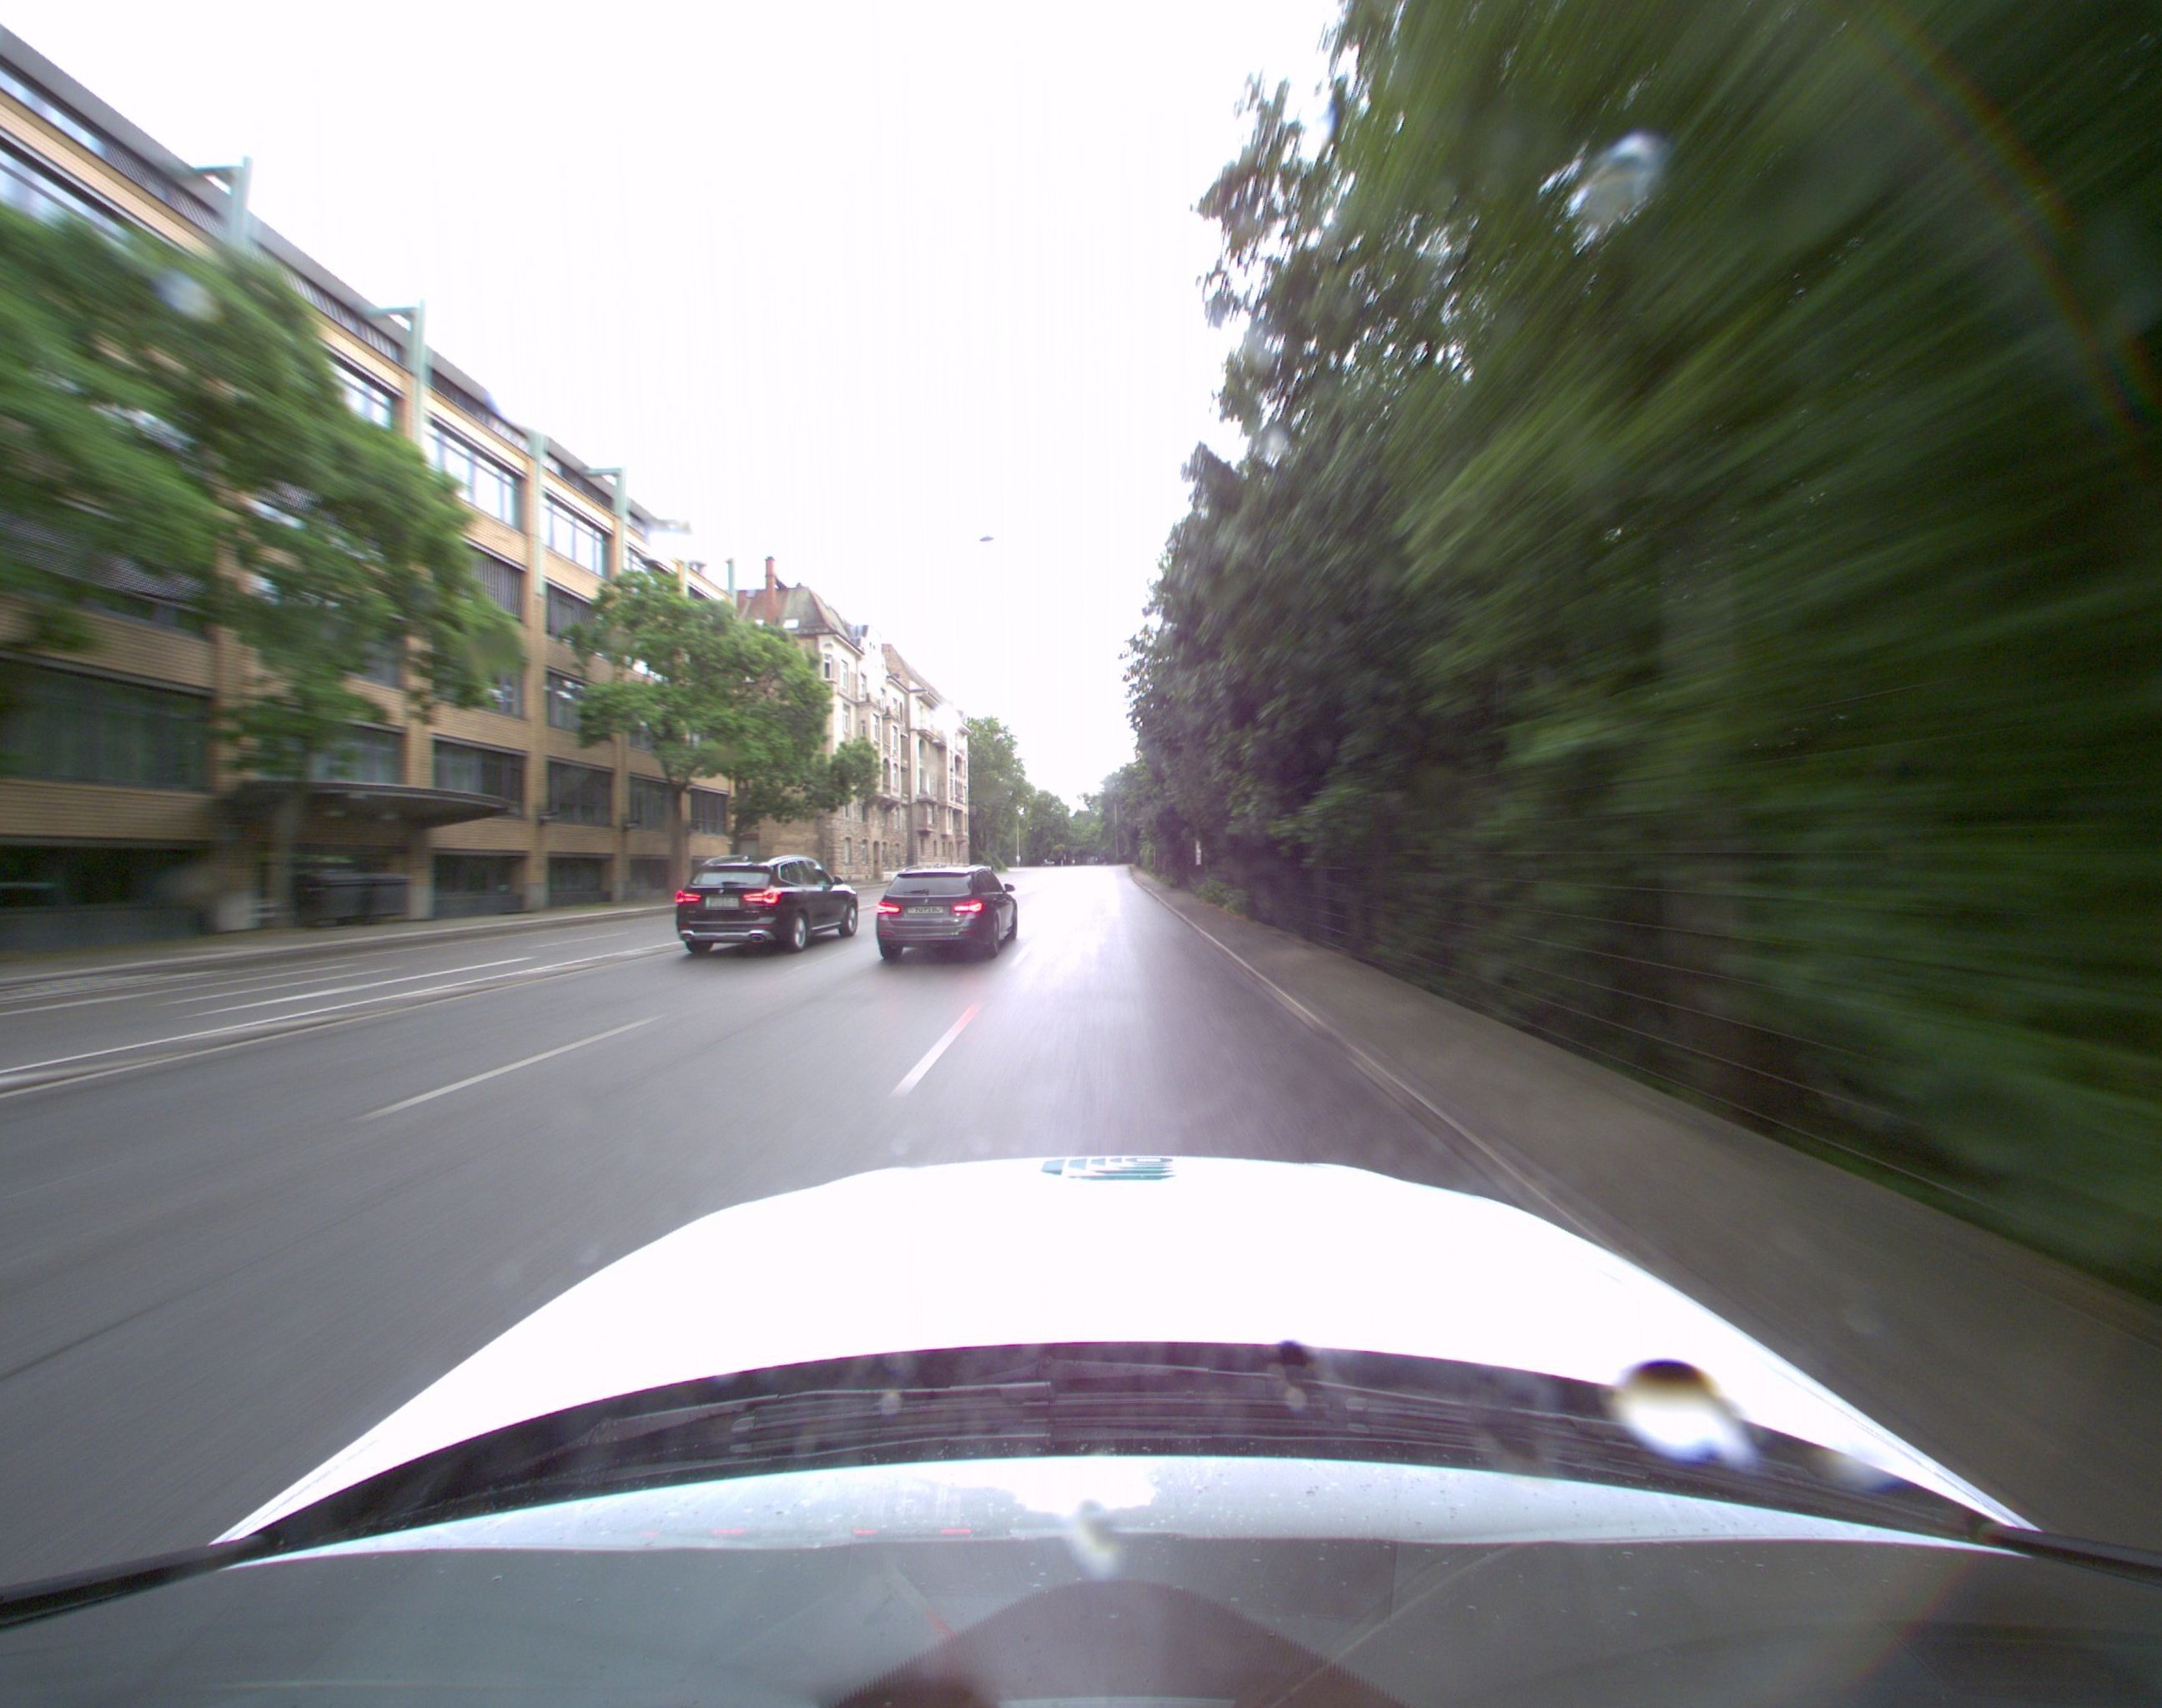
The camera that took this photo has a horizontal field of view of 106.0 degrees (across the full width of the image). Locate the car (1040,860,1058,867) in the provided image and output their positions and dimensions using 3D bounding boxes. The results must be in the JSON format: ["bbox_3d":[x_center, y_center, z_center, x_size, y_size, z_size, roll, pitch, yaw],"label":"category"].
[{"bbox_3d":[-7.379,2.250,188.826,1.702,1.427,4.317,3,-4,-44],"label":"car"}]

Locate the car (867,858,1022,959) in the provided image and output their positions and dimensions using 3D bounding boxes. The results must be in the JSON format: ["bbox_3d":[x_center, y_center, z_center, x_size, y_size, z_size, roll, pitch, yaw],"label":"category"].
[{"bbox_3d":[-2.113,0.799,13.891,1.751,1.432,4.414,0,0,2],"label":"car"}]

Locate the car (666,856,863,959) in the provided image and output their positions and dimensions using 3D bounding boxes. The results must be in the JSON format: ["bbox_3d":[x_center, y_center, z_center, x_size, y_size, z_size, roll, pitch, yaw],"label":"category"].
[{"bbox_3d":[-5.538,0.846,14.923,1.751,1.586,4.414,-1,0,2],"label":"car"}]

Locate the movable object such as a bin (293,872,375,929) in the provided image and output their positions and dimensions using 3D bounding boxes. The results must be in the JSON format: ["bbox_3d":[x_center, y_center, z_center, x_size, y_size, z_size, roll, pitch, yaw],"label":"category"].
[{"bbox_3d":[-19.750,1.202,21.563,0.970,1.436,1.313,0,0,-3],"label":"movable object such as a bin"}]

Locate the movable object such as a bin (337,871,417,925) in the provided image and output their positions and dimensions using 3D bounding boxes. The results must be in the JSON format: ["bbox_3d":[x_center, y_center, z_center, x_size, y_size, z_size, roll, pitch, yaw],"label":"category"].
[{"bbox_3d":[-19.784,1.214,22.917,1.065,1.436,1.371,0,0,-3],"label":"movable object such as a bin"}]
